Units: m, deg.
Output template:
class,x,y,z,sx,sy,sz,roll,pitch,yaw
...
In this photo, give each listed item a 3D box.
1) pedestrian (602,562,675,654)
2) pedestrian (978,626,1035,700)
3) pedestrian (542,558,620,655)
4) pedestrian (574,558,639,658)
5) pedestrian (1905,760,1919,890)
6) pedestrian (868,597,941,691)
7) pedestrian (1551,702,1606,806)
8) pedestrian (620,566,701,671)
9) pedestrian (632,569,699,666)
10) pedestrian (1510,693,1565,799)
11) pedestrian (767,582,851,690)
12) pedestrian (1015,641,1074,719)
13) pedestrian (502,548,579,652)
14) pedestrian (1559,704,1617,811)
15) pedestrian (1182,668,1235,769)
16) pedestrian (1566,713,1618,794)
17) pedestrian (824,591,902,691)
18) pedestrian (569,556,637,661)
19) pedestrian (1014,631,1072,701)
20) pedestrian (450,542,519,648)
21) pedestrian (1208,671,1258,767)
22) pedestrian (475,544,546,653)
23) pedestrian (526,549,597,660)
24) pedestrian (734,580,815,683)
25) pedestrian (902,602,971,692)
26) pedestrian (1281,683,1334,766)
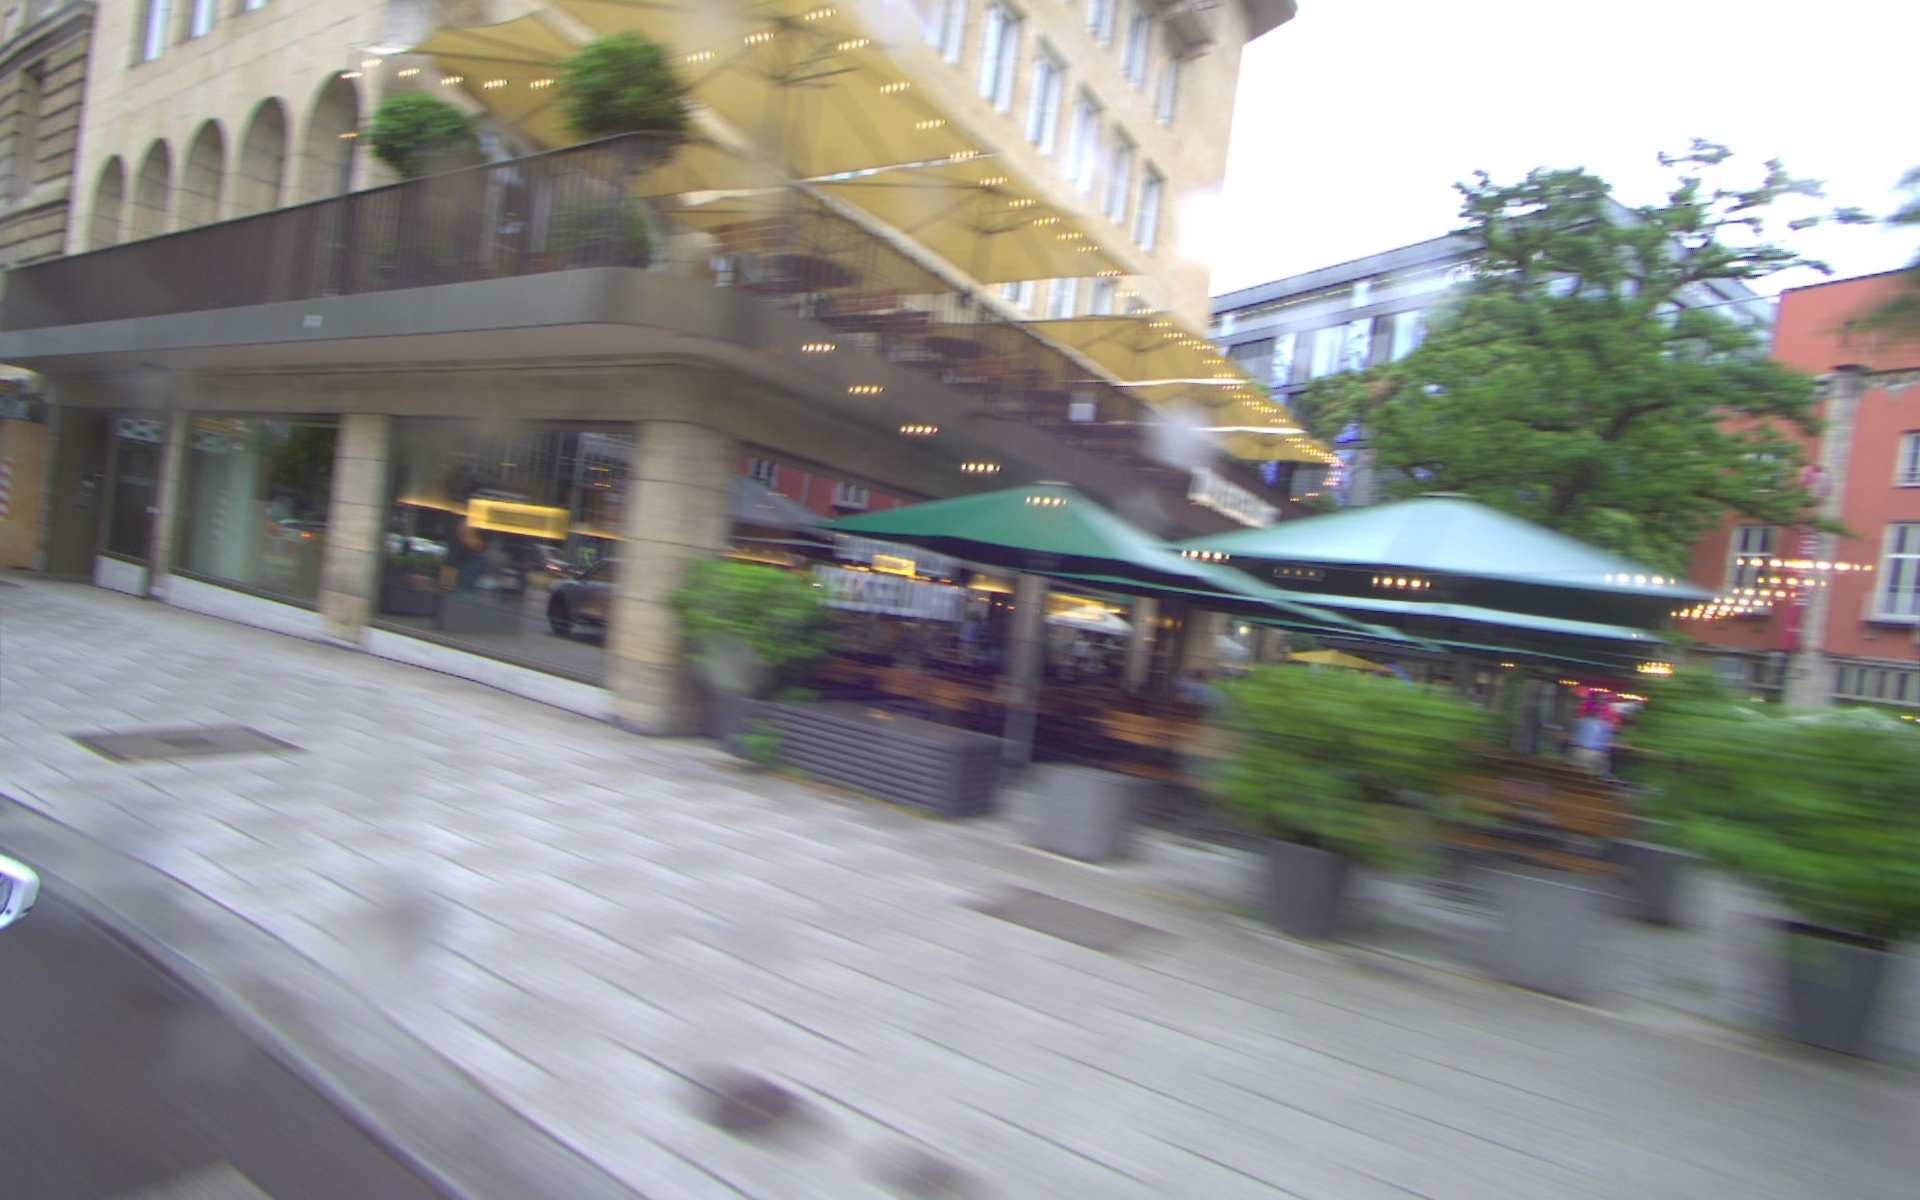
class,x,y,z,sx,sy,sz,roll,pitch,yaw
pedestrian,-4.092,0.100,12.820,0.536,1.068,0.554,8,-1,36
pedestrian,0.732,0.996,15.796,0.536,1.068,0.554,8,-1,36
pedestrian,-4.572,0.079,12.157,0.536,1.068,0.554,8,-1,36
pedestrian,-4.091,0.096,11.641,0.471,1.086,0.330,8,0,20
pedestrian,11.594,2.465,11.698,0.622,1.911,0.464,7,-1,30
pedestrian,-0.688,0.555,12.498,0.536,1.068,0.554,8,-1,36
pedestrian,10.733,2.660,17.485,0.615,1.662,0.677,7,-1,30
pedestrian,-3.358,0.208,11.326,0.597,1.068,0.622,8,0,-3
pedestrian,-3.522,0.208,12.047,0.554,1.068,0.479,8,0,-6
pedestrian,9.728,2.445,16.952,0.615,1.662,0.672,7,-1,30
pedestrian,-1.631,0.397,10.915,0.536,1.068,0.554,8,-1,36
pedestrian,1.254,1.187,14.897,0.536,1.068,0.554,8,-1,36
pedestrian,-4.743,0.010,11.384,0.530,1.086,0.434,8,0,20
pedestrian,10.481,2.611,16.802,0.615,1.662,0.677,7,-1,30
pedestrian,3.490,1.659,14.119,0.418,1.337,0.648,7,-1,30
pedestrian,14.008,3.389,22.285,0.773,1.662,0.624,7,-1,36
pedestrian,-1.130,0.481,11.747,0.536,1.068,0.554,8,-1,36
pedestrian,-3.952,0.099,11.146,0.471,1.086,0.342,8,0,20
pedestrian,1.394,1.104,16.848,0.641,1.068,0.554,8,-1,36
pedestrian,-5.212,-0.057,11.022,0.471,1.086,0.329,8,0,25
pedestrian,4.085,1.768,15.018,0.418,1.337,0.648,7,-1,30
pedestrian,-4.764,-0.012,10.674,0.471,1.086,0.329,8,0,25
pedestrian,-4.166,0.046,10.517,0.538,1.068,0.406,8,0,-26
pedestrian,-2.087,0.357,11.328,0.536,1.068,0.554,8,-1,36
pedestrian,-0.301,0.617,13.027,0.536,1.068,0.554,8,-1,36
pedestrian,6.321,2.255,18.283,0.615,1.383,0.738,7,-1,30
